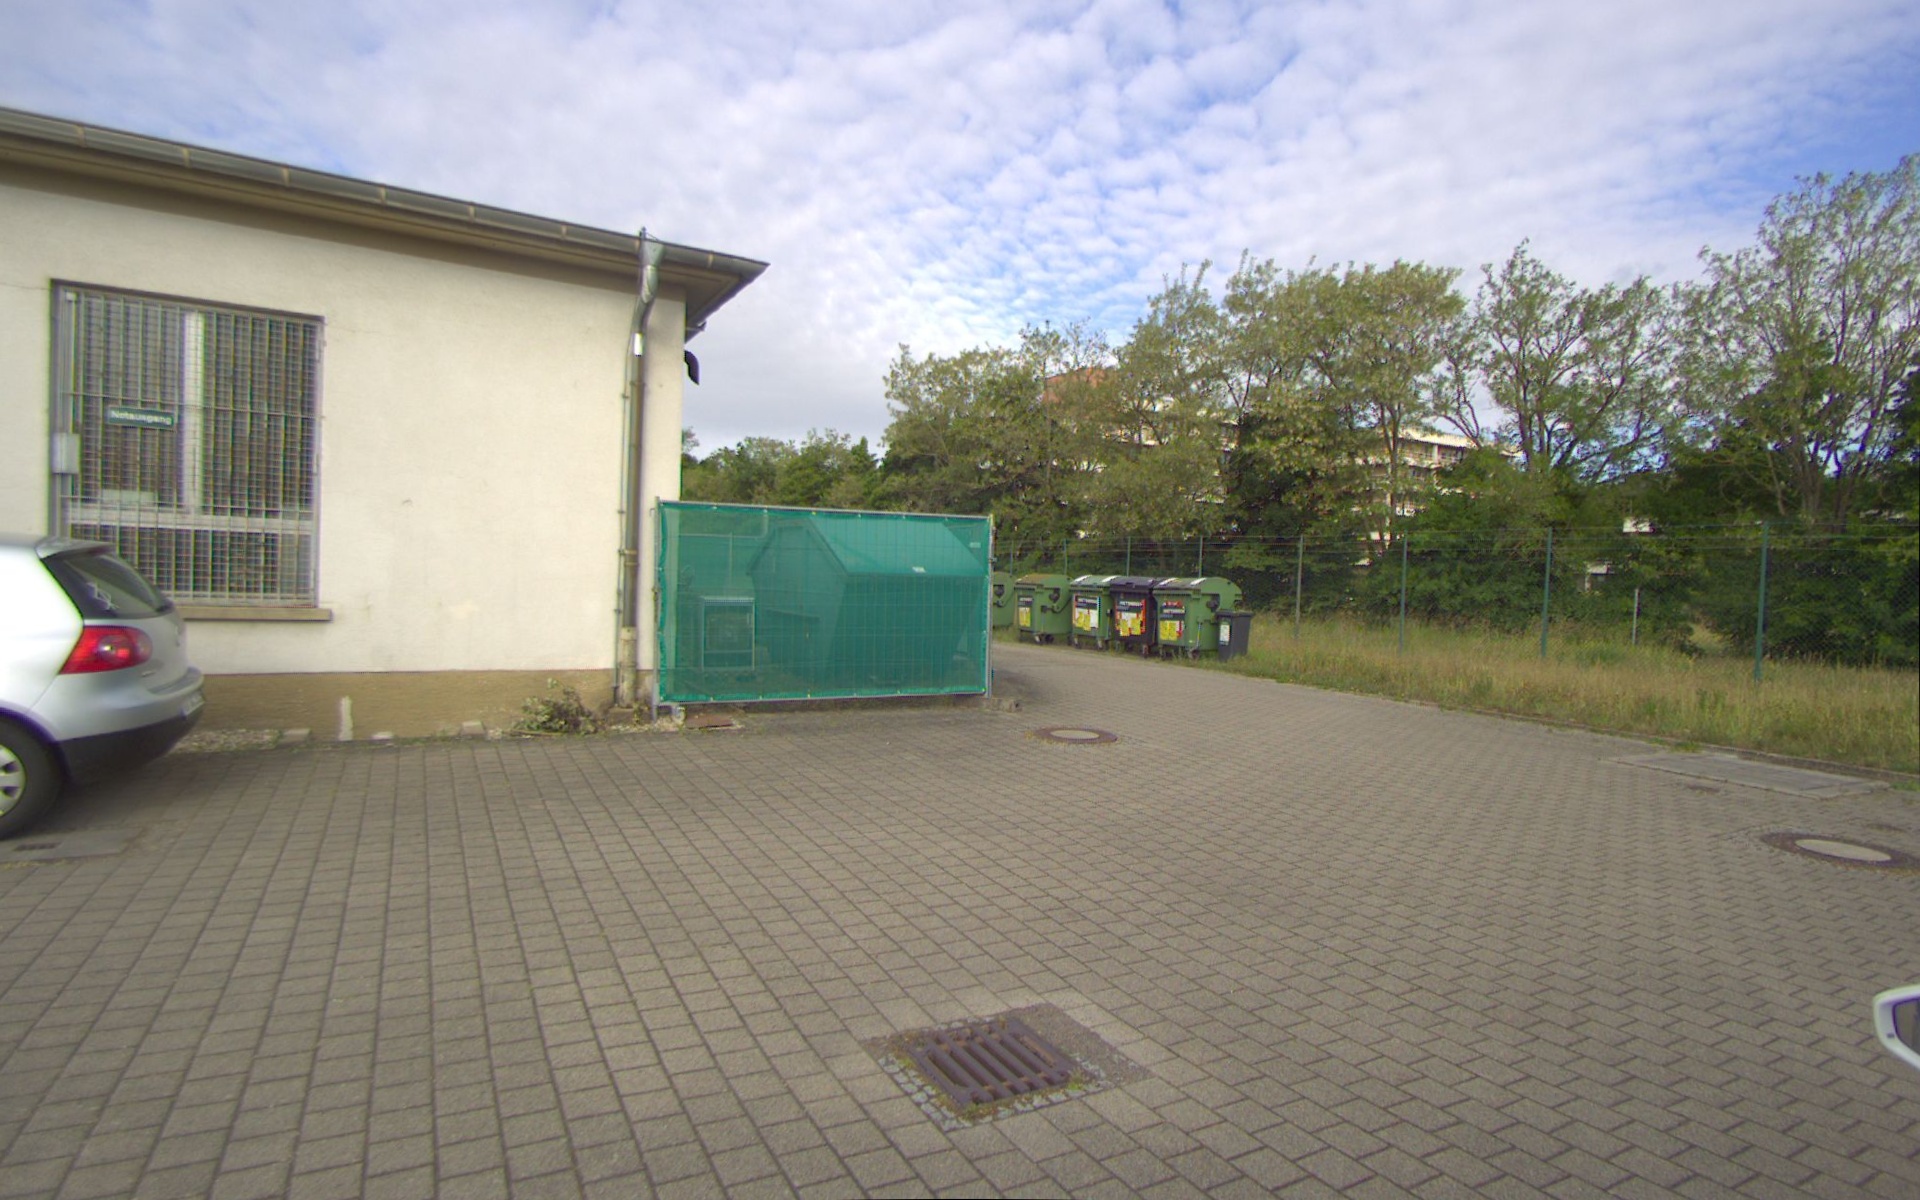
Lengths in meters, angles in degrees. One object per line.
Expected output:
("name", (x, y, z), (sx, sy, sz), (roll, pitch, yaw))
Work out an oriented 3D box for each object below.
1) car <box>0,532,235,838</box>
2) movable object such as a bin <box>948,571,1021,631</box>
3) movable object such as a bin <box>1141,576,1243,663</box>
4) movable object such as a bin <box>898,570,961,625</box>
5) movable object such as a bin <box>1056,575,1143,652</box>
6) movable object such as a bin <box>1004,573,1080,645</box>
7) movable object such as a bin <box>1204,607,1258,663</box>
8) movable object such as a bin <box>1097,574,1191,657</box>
("car", (-6.358, 0.341, 4.946), (4.317, 1.458, 1.915), (1, 3, -30))
("movable object such as a bin", (0.546, 0.014, 23.226), (1.113, 1.313, 1.369), (2, 1, -30))
("movable object such as a bin", (3.983, 0.316, 17.344), (1.115, 1.414, 1.350), (2, 1, -20))
("movable object such as a bin", (-0.811, -0.064, 26.020), (1.142, 1.343, 1.485), (2, 1, -23))
("movable object such as a bin", (2.719, 0.252, 19.694), (1.059, 1.424, 1.376), (2, 1, -26))
("movable object such as a bin", (1.688, 0.175, 20.920), (1.109, 1.417, 1.379), (2, 1, -18))
("movable object such as a bin", (4.451, 0.568, 16.509), (0.592, 0.877, 0.583), (2, 1, -20))
("movable object such as a bin", (3.383, 0.275, 18.550), (1.059, 1.454, 1.389), (2, 1, -26))
